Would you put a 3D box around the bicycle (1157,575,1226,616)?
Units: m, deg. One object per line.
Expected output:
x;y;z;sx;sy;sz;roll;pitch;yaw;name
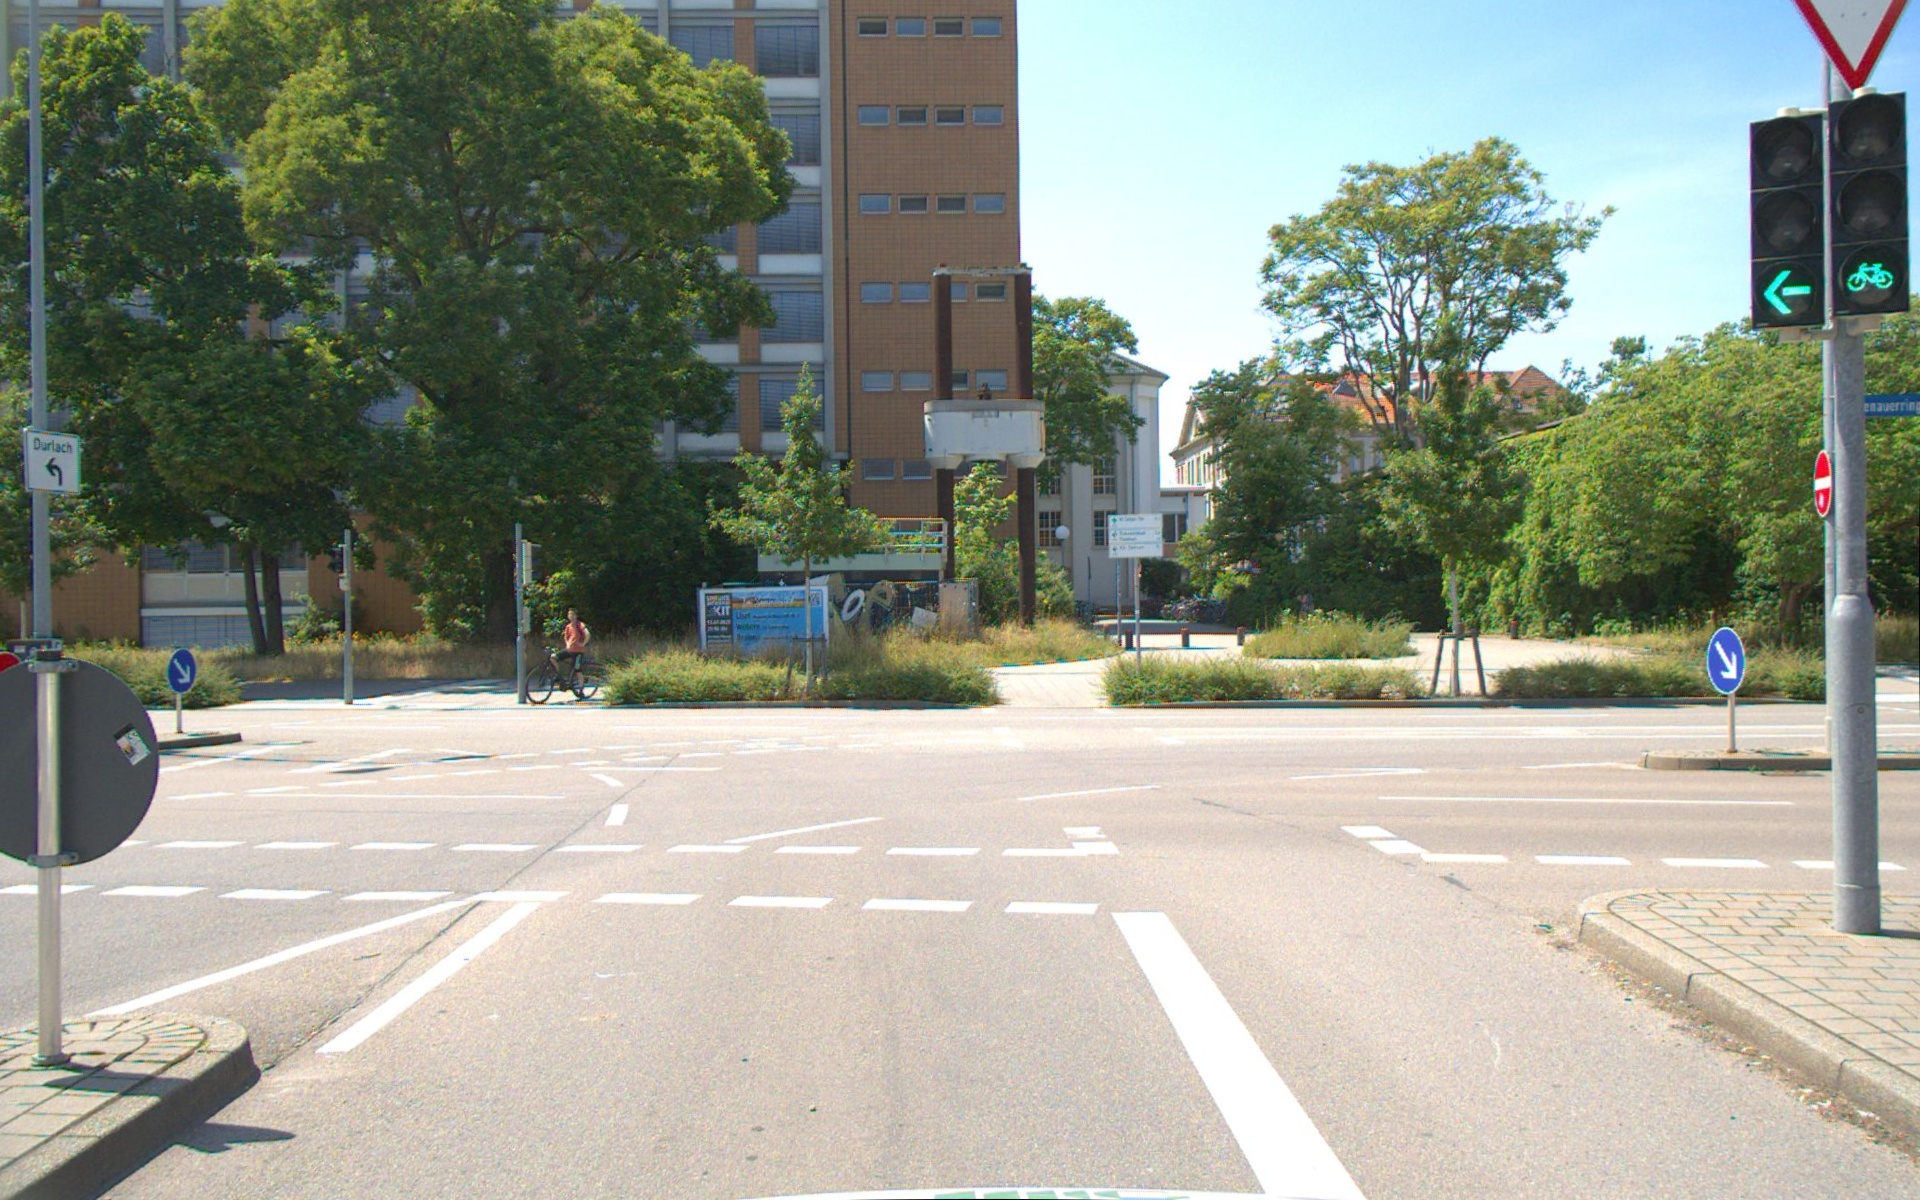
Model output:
11.841;-0.220;84.573;3.376;2.049;0.760;1;0;1;bicycle

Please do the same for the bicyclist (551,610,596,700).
-7.780;1.094;33.270;0.541;1.745;0.699;1;1;40;bicyclist

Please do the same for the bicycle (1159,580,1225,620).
12.329;-0.020;88.074;3.376;2.049;0.760;1;0;1;bicycle

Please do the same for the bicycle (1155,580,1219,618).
12.426;-0.055;90.675;3.376;2.049;0.760;1;0;1;bicycle

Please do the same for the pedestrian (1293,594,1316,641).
12.660;0.636;60.789;0.626;1.694;0.706;1;0;-2;pedestrian

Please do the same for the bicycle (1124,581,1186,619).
10.870;-0.020;92.237;3.376;2.049;0.760;1;0;1;bicycle

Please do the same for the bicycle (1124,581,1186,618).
11.003;-0.017;93.398;3.376;2.049;0.760;1;0;1;bicycle

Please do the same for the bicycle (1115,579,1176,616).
10.597;-0.125;94.727;3.376;2.049;0.760;1;0;1;bicycle

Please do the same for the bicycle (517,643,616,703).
-7.869;1.443;33.165;0.548;1.063;1.986;0;2;40;bicycle
